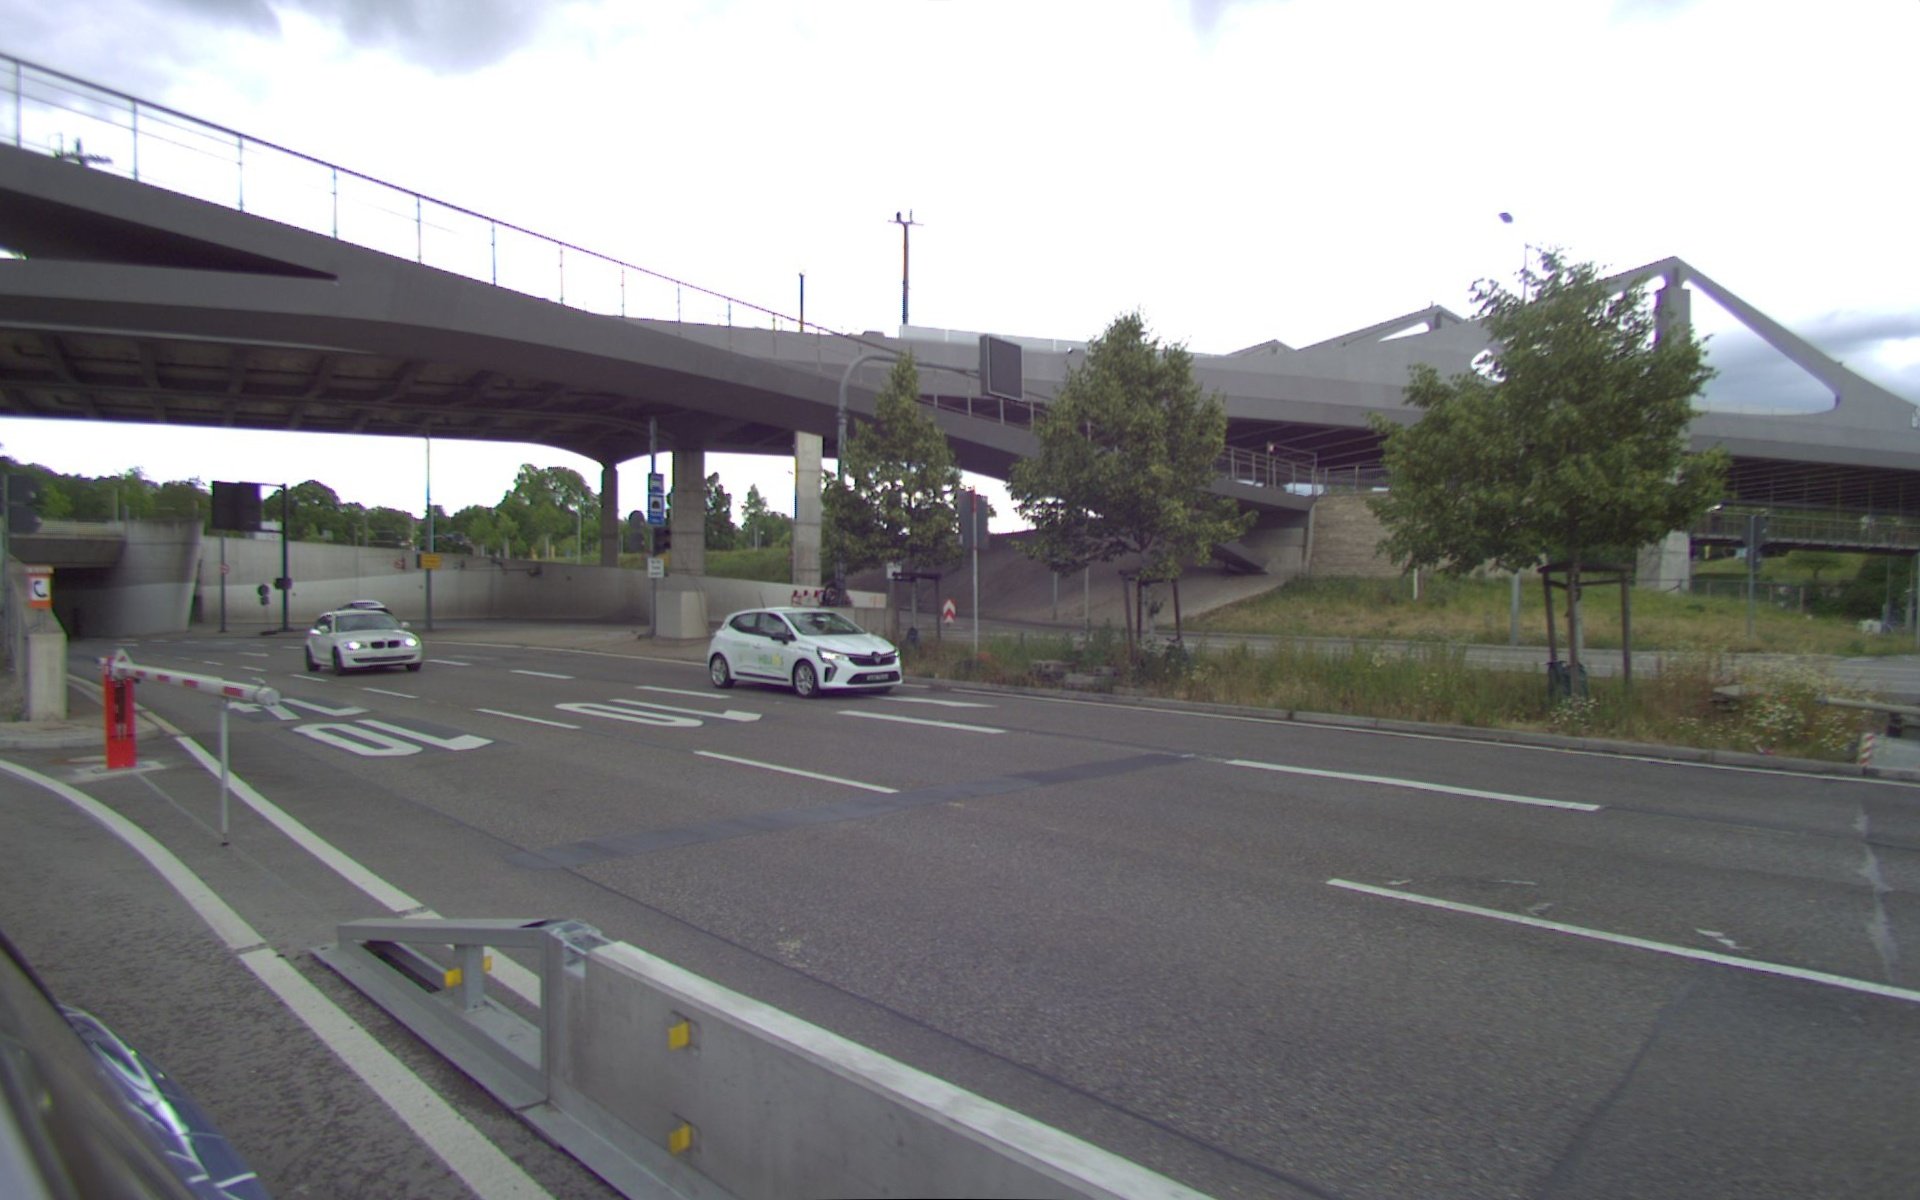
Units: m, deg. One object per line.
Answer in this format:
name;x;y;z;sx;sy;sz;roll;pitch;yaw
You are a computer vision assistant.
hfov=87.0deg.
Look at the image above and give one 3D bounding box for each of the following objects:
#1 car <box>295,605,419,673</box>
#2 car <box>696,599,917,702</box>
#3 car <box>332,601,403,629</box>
car;-14.319;0.882;23.943;1.619;1.444;3.984;-1;0;-45
car;-2.677;0.751;17.077;3.998;1.495;1.558;0;1;44
car;-32.639;0.797;55.704;4.608;1.489;1.772;0;0;37
